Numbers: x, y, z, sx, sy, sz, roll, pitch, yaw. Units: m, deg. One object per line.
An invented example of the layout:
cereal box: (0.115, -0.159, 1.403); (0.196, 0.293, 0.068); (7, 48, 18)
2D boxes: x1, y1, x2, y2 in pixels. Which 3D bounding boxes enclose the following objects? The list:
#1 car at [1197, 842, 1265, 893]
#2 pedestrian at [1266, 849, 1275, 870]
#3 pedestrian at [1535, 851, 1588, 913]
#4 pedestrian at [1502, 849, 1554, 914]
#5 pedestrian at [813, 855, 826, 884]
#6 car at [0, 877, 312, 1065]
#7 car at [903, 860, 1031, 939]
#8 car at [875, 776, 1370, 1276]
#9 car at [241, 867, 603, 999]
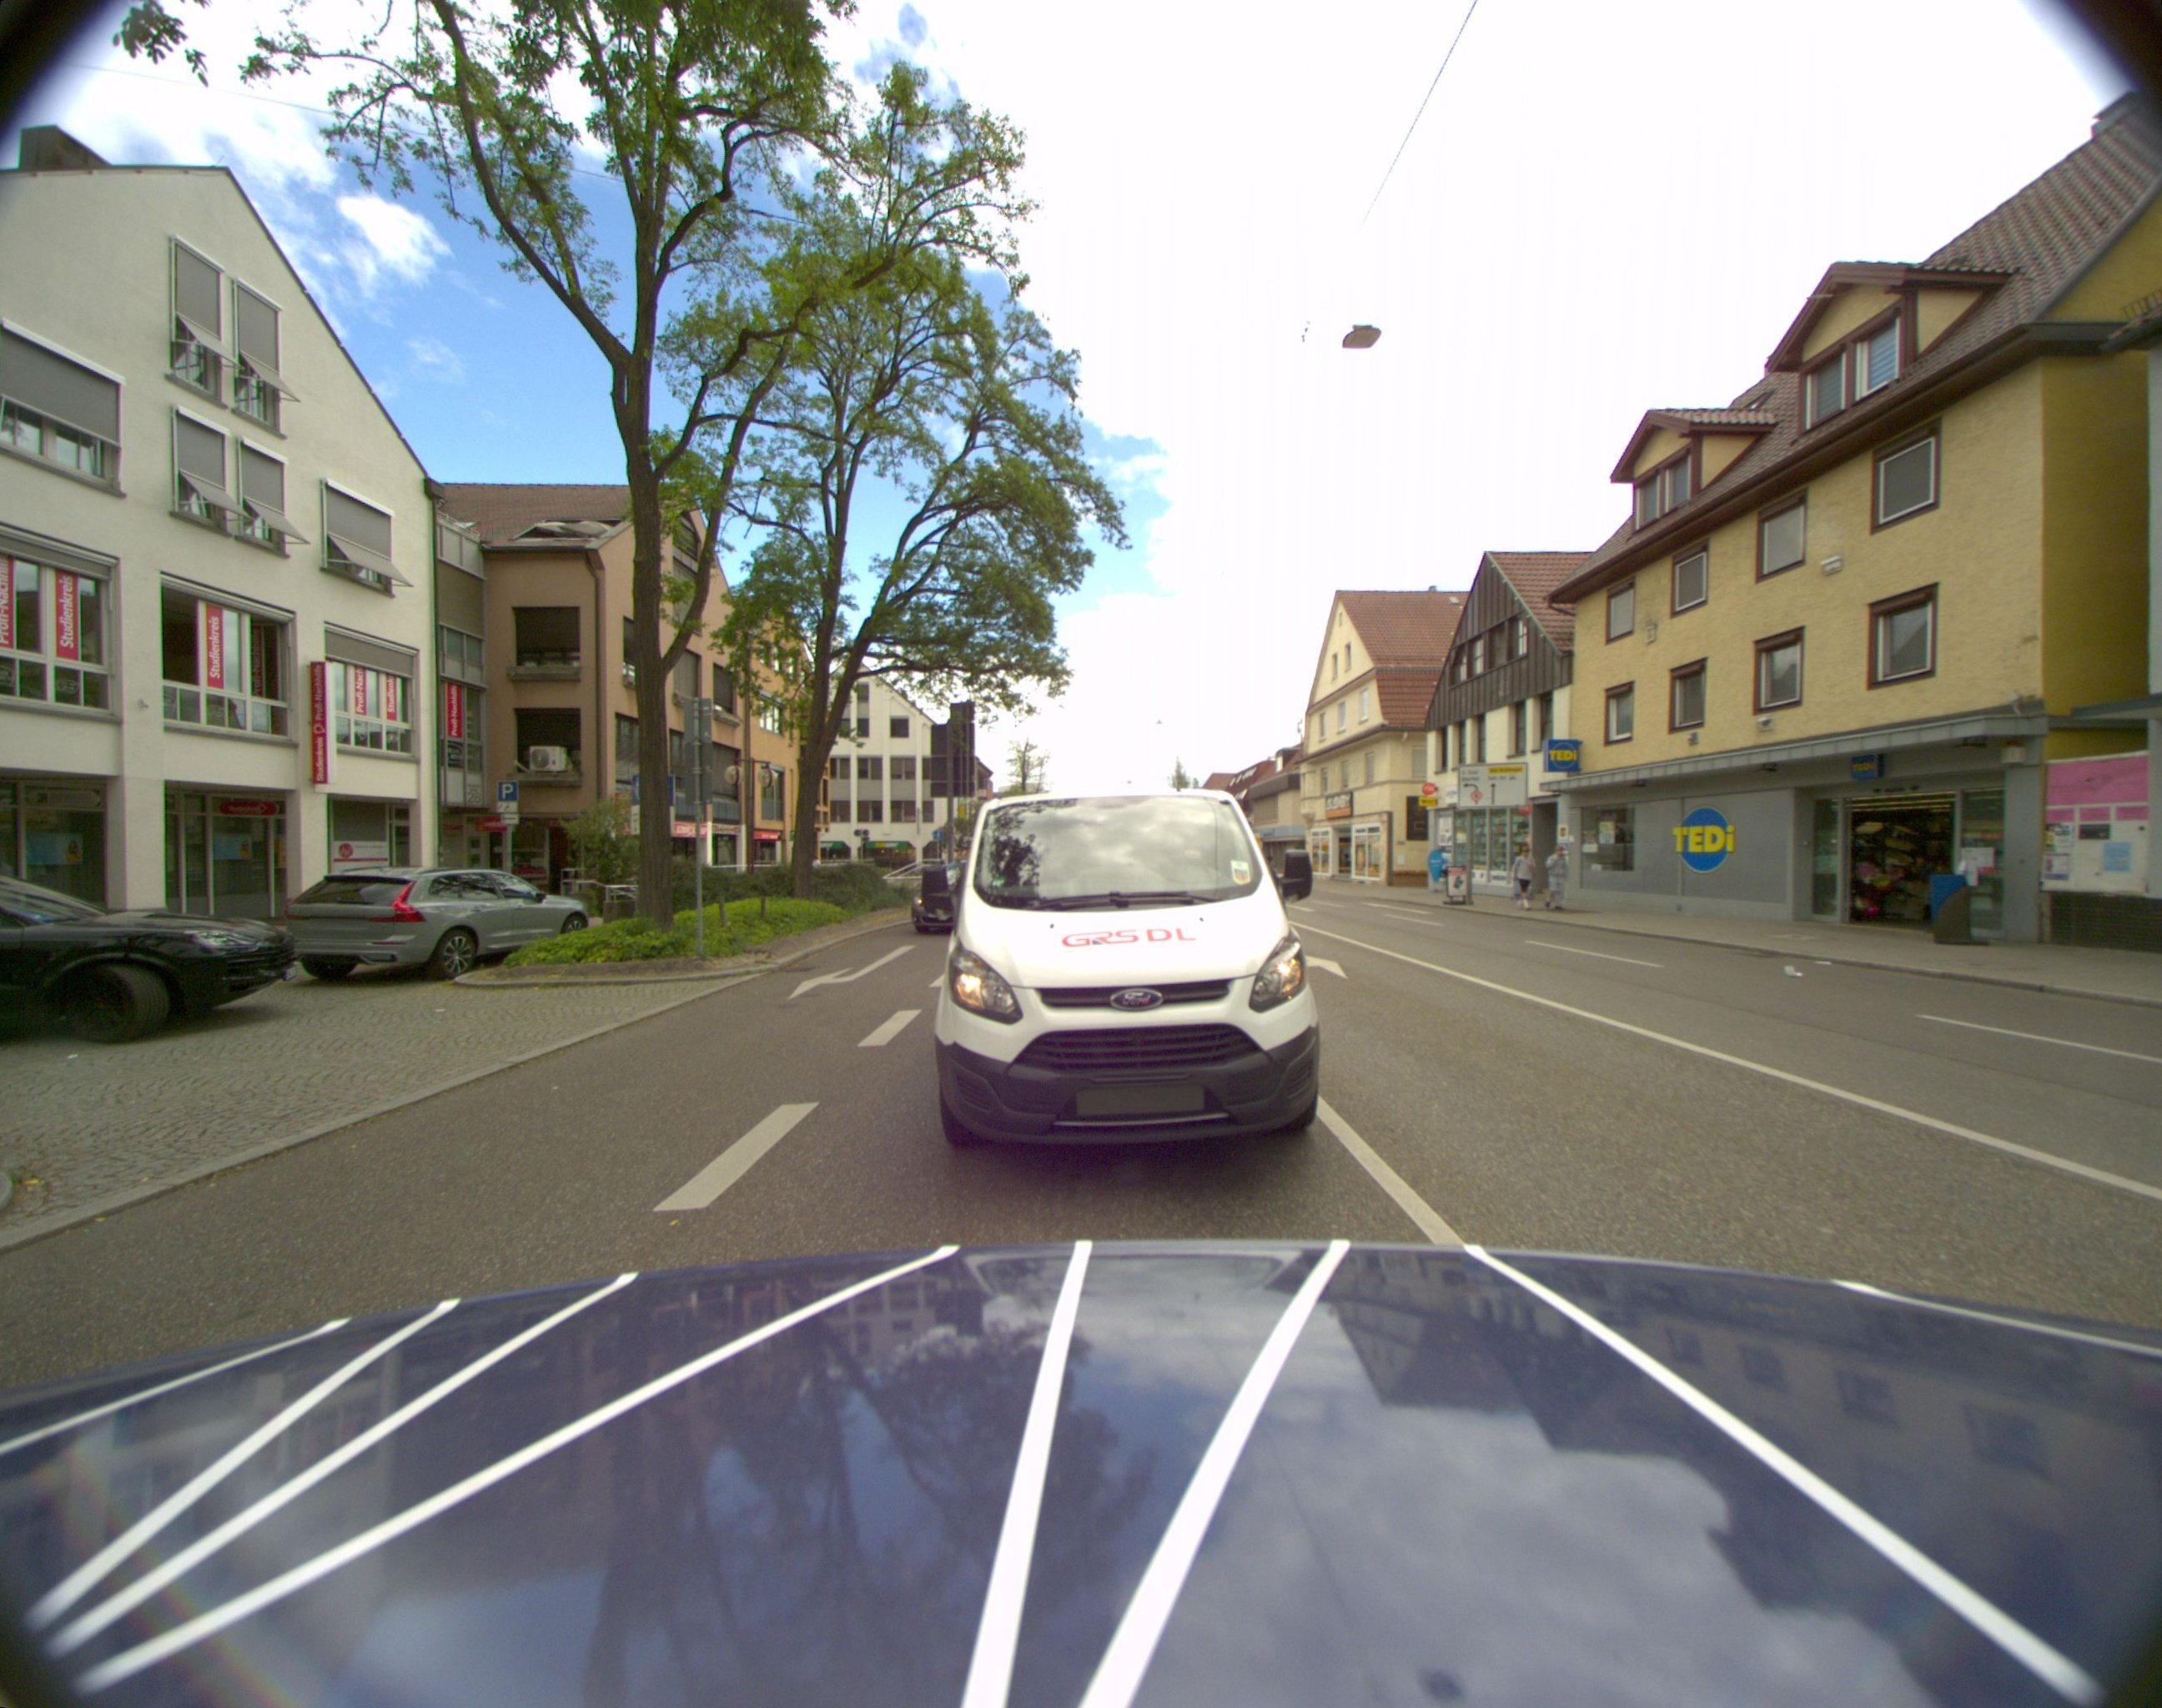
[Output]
car: (6.044, 0.516, 31.125); (1.909, 1.931, 4.526); (-1, 0, 0)
pedestrian: (16.810, 0.481, 67.403); (0.673, 1.891, 0.678); (0, 1, 1)
pedestrian: (12.491, 0.716, 19.774); (0.812, 1.574, 0.920); (-1, 1, 1)
pedestrian: (11.644, 0.699, 19.826); (0.812, 1.651, 0.920); (-1, 1, 1)
pedestrian: (-14.770, 0.874, 42.849); (0.505, 1.615, 0.493); (-1, 1, -45)
car: (-11.010, 1.083, 7.331); (4.763, 1.669, 1.995); (1, -1, -35)
car: (-2.455, 0.950, 17.395); (1.800, 1.521, 4.002); (-1, 0, 8)
car: (0.207, 0.704, 5.990); (1.940, 1.968, 5.780); (-2, 0, 1)
car: (-10.326, 1.108, 12.579); (1.999, 1.645, 4.752); (1, 1, -3)
